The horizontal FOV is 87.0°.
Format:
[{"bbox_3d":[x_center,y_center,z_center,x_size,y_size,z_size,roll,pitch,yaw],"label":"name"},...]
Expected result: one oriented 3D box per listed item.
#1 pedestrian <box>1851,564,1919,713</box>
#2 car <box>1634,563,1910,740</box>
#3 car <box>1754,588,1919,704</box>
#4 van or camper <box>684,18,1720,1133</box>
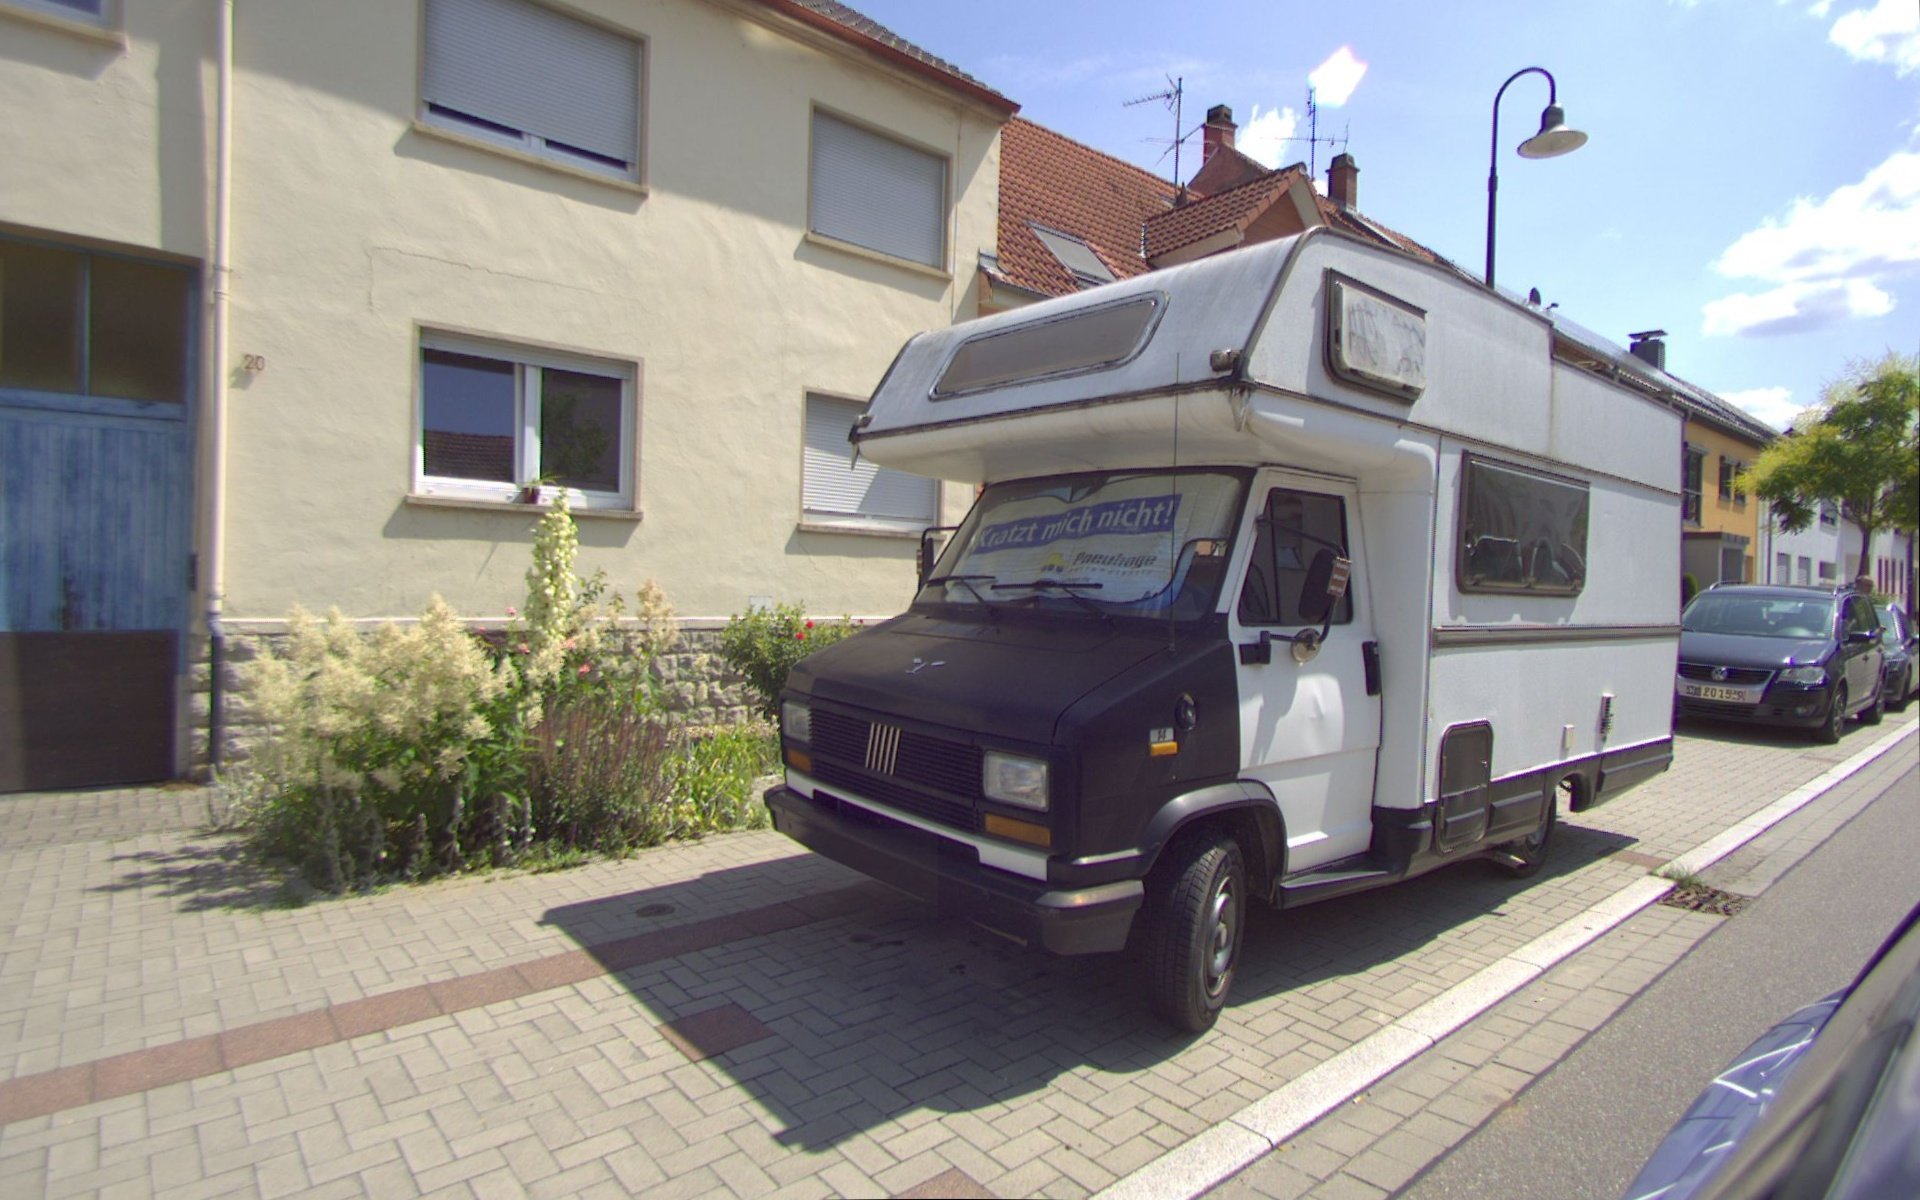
[{"bbox_3d":[12.104,0.481,13.148,0.568,1.876,0.718,0,0,-40],"label":"pedestrian"},{"bbox_3d":[9.647,0.485,11.906,4.248,1.726,1.770,0,1,-40],"label":"car"},{"bbox_3d":[13.518,0.581,15.261,4.223,1.507,1.769,0,1,-42],"label":"car"},{"bbox_3d":[1.753,-0.087,5.398,5.688,2.845,2.478,0,2,-41],"label":"van or camper"}]
